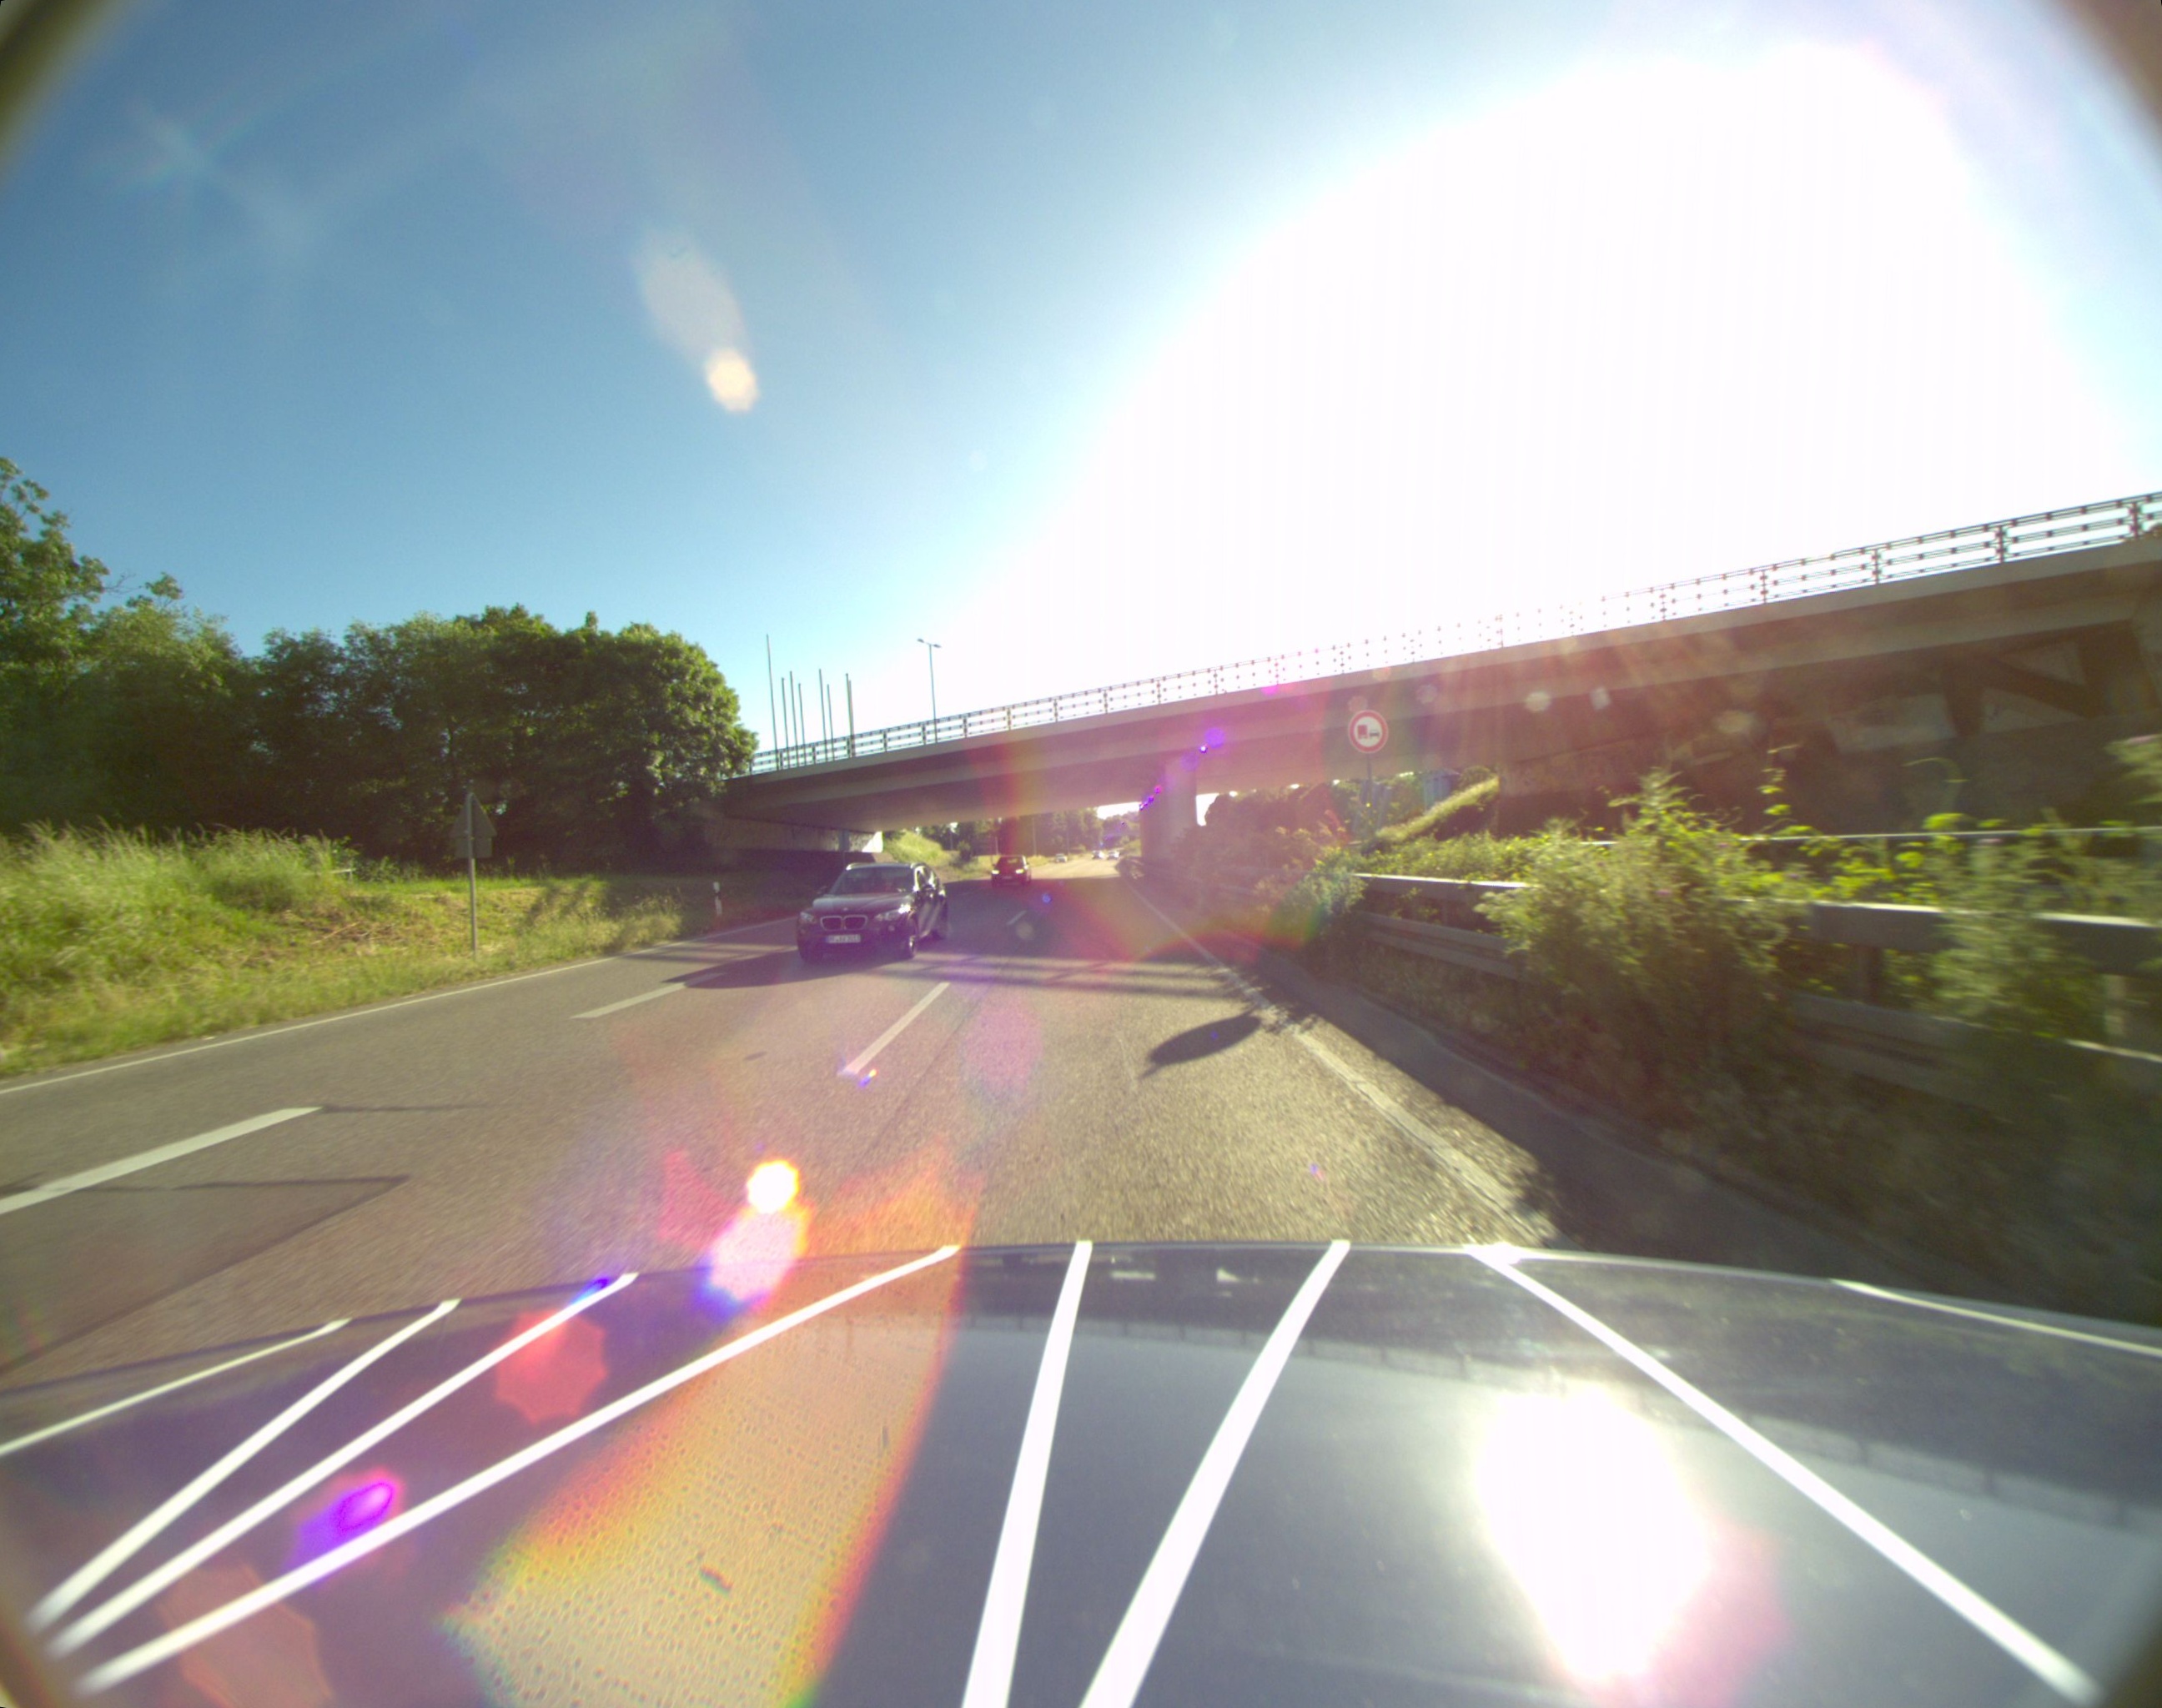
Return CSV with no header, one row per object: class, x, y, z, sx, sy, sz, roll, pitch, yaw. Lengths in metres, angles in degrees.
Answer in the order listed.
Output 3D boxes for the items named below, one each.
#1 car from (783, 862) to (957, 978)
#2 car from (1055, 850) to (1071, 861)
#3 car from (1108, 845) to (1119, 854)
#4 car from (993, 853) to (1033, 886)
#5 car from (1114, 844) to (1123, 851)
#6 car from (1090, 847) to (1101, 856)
car,-3.500,1.005,13.545,1.703,1.497,4.578,-3,1,0
car,-2.966,0.283,125.405,1.869,1.681,3.995,-3,1,-12
car,5.501,-0.802,128.157,1.725,1.412,3.670,-3,1,5
car,-3.656,0.803,41.770,1.760,1.564,4.519,-2,1,0
car,7.778,-1.354,157.026,1.682,1.412,3.670,-3,1,5
car,2.683,-0.480,137.318,1.682,1.412,3.670,-3,1,5
